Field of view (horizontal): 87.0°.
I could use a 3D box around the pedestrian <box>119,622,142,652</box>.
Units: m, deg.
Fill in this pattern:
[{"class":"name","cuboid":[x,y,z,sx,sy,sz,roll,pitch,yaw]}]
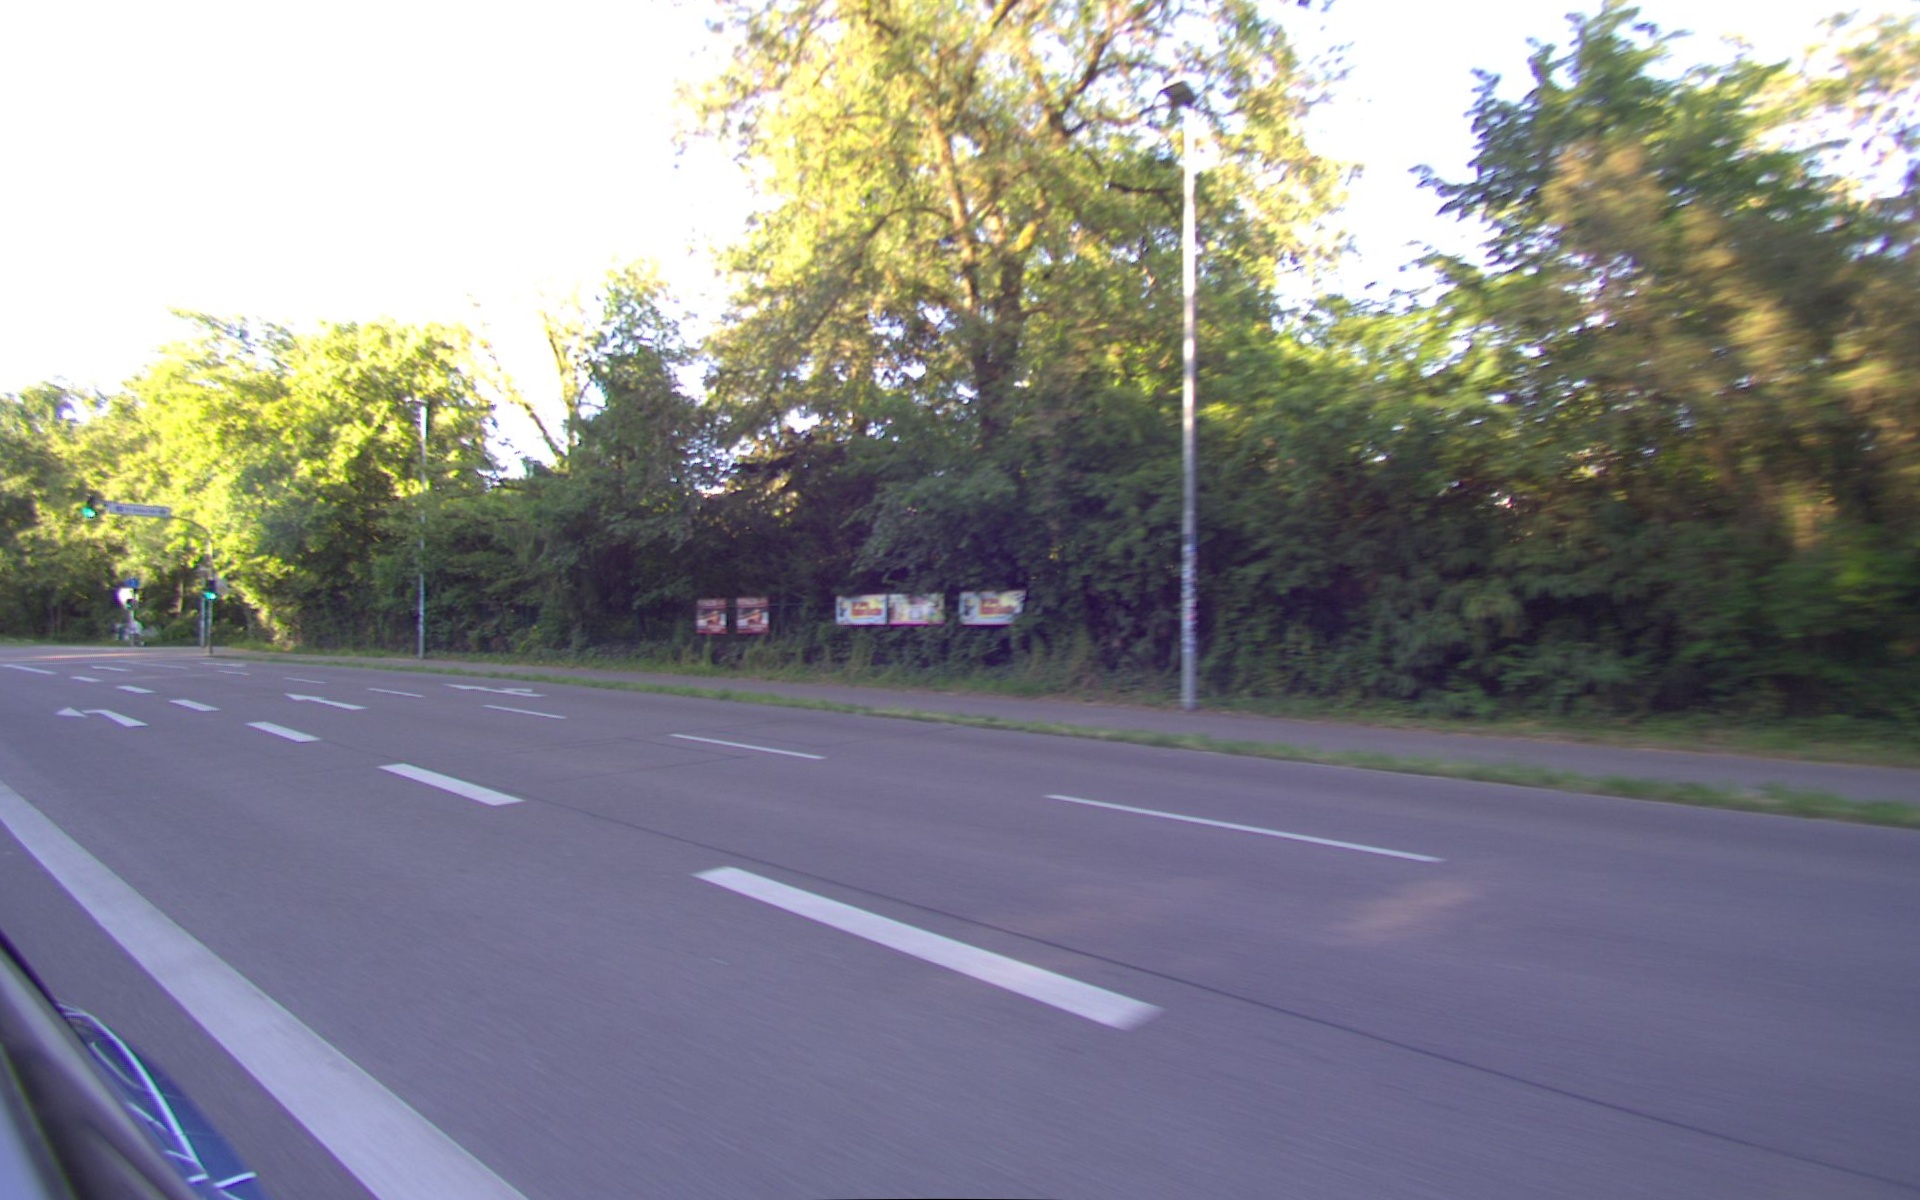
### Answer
[{"class":"pedestrian","cuboid":[-47.305,2.106,57.729,0.646,1.724,0.812,-1,-2,27]}]
